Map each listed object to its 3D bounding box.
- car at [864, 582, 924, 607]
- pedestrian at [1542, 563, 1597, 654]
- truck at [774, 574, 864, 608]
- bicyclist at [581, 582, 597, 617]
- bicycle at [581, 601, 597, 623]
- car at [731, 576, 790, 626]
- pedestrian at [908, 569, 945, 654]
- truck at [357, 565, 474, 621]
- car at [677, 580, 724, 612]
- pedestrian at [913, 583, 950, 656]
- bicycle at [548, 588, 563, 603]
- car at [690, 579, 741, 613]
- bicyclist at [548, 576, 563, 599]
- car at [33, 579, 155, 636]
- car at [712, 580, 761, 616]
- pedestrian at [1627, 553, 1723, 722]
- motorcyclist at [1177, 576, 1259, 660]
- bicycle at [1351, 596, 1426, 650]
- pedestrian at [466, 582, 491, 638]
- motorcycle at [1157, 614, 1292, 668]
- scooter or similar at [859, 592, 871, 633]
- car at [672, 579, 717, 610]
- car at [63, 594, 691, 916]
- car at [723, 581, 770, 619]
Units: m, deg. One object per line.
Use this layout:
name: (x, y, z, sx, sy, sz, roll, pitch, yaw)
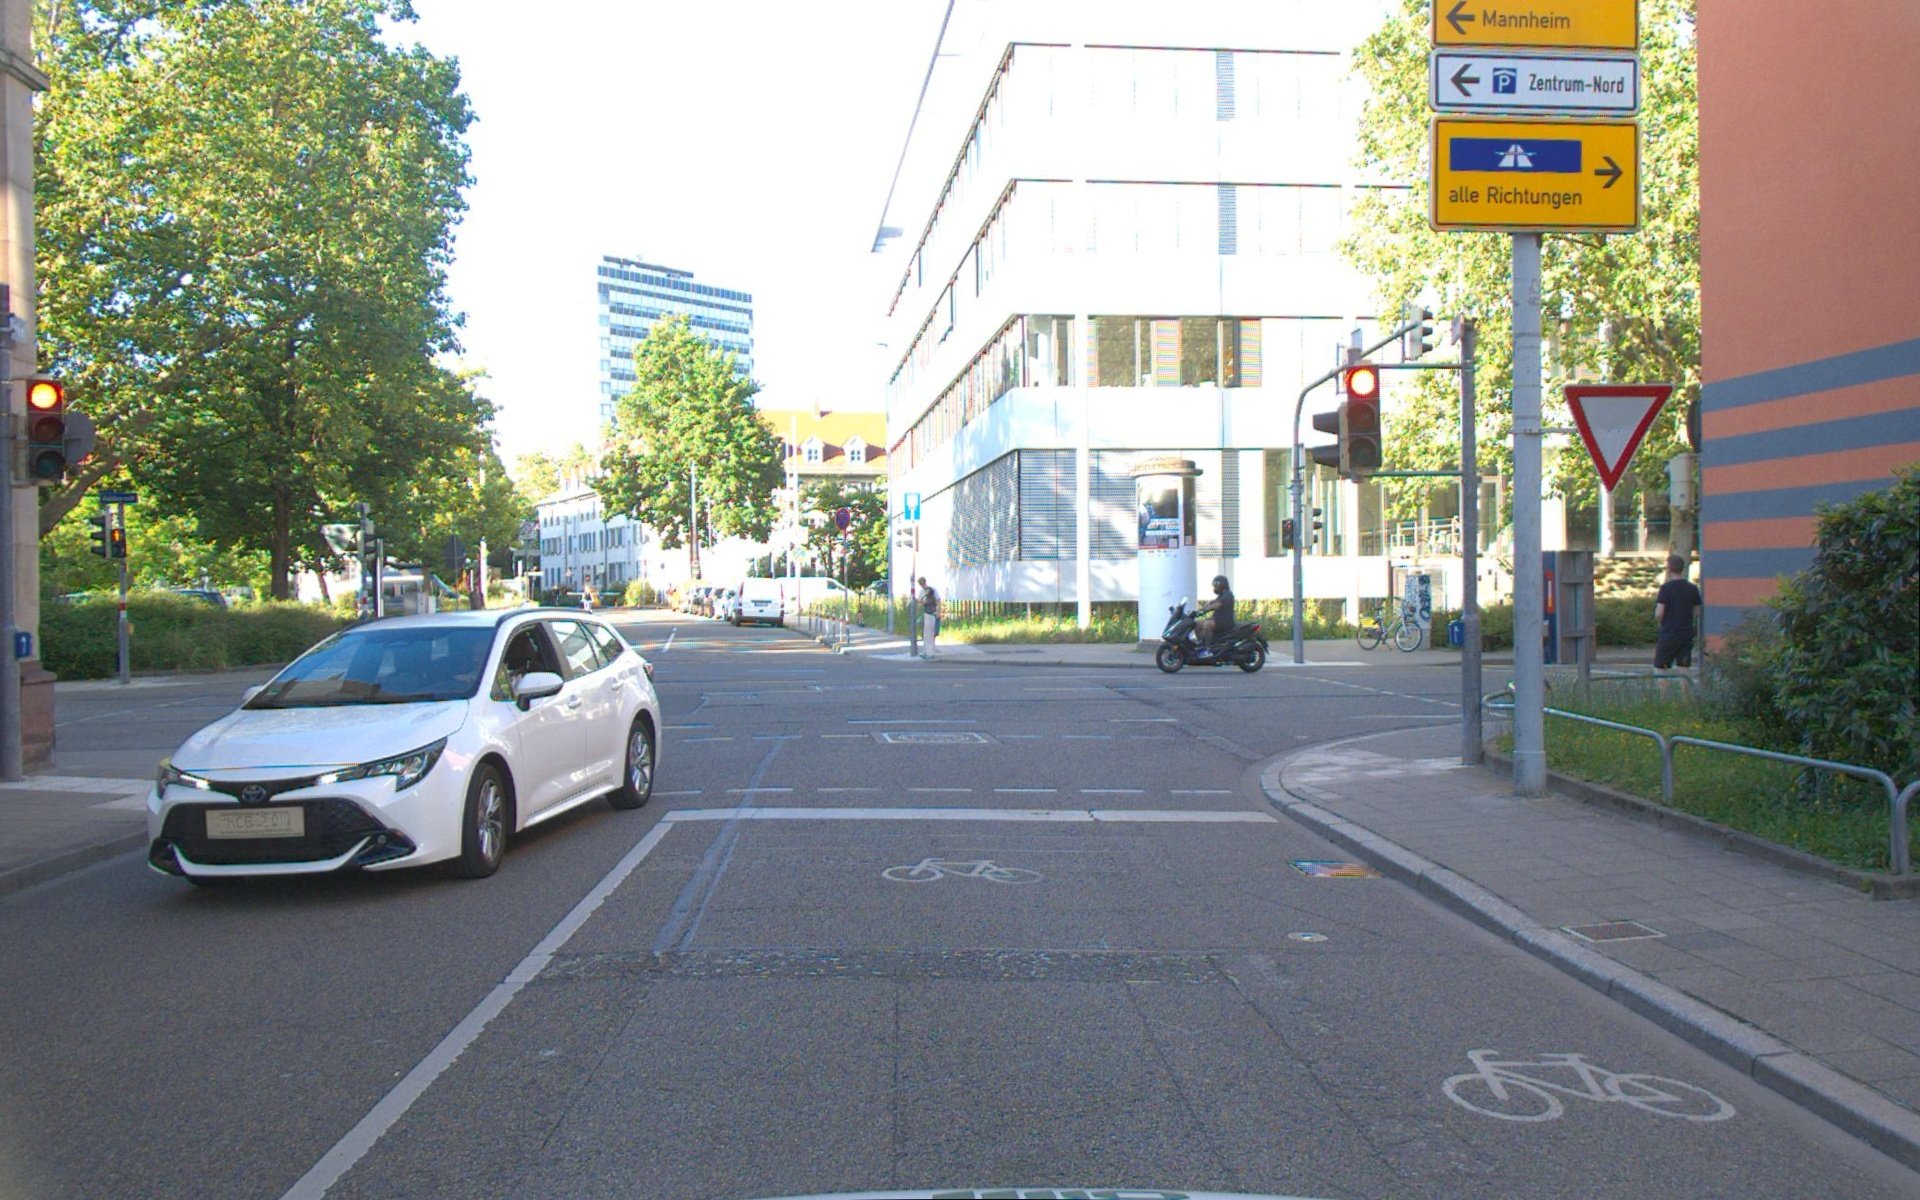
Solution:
car: (-4.159, -0.357, 104.178, 3.502, 1.573, 1.549, -1, 0, -20)
pedestrian: (12.722, 0.175, 34.541, 0.819, 1.872, 0.707, 1, 0, -11)
truck: (-8.773, -0.570, 102.923, 5.258, 2.049, 1.989, -1, 0, -20)
bicyclist: (-16.873, -0.009, 75.205, 0.604, 1.559, 0.901, -1, 0, -9)
bicycle: (-16.862, 0.538, 75.195, 0.604, 0.986, 1.837, -1, 1, -9)
car: (-7.830, -0.012, 64.539, 2.047, 1.827, 4.404, 0, 1, -10)
pedestrian: (-0.756, 0.265, 37.789, 0.547, 1.882, 0.678, -3, 1, 15)
truck: (-24.561, -0.325, 74.756, 4.741, 2.441, 2.082, 0, 1, -11)
car: (-14.232, -0.245, 90.526, 1.860, 1.684, 4.391, 0, 1, -19)
pedestrian: (-0.641, 0.432, 37.185, 0.551, 1.567, 0.673, -4, 1, -19)
bicycle: (-27.756, -0.303, 113.551, 0.850, 1.027, 2.407, -3, 1, -11)
car: (-12.670, -0.229, 85.368, 1.860, 1.684, 4.391, 0, 1, -19)
bicyclist: (-27.783, -0.870, 113.564, 0.850, 1.541, 1.016, -3, 0, -11)
car: (-39.972, 0.339, 76.439, 4.472, 2.433, 2.069, -2, 0, -10)
car: (-10.605, -0.105, 78.150, 1.856, 1.582, 4.400, 0, 1, -14)
pedestrian: (8.128, 0.416, 18.823, 0.692, 1.872, 0.837, 1, 0, -1)
motorcyclist: (4.597, 0.312, 29.491, 1.269, 1.444, 0.820, -1, 0, -6)
bicycle: (9.353, 0.494, 36.170, 0.503, 1.067, 1.667, -3, 4, -35)
pedestrian: (-15.452, 0.322, 53.062, 0.691, 1.753, 0.951, -2, 0, -16)
motorcycle: (4.704, 0.721, 29.498, 2.253, 0.904, 0.820, -1, 0, -6)
scooter or similar: (-3.360, 0.436, 58.510, 0.324, 1.449, 1.333, 1, 0, -6)
car: (-15.343, -0.341, 95.264, 1.860, 1.684, 4.391, 0, 1, -19)
car: (-3.292, 0.775, 10.495, 1.847, 1.501, 4.549, -3, 0, 7)
car: (-9.437, -0.029, 72.797, 1.854, 1.582, 4.404, 0, 1, -10)
